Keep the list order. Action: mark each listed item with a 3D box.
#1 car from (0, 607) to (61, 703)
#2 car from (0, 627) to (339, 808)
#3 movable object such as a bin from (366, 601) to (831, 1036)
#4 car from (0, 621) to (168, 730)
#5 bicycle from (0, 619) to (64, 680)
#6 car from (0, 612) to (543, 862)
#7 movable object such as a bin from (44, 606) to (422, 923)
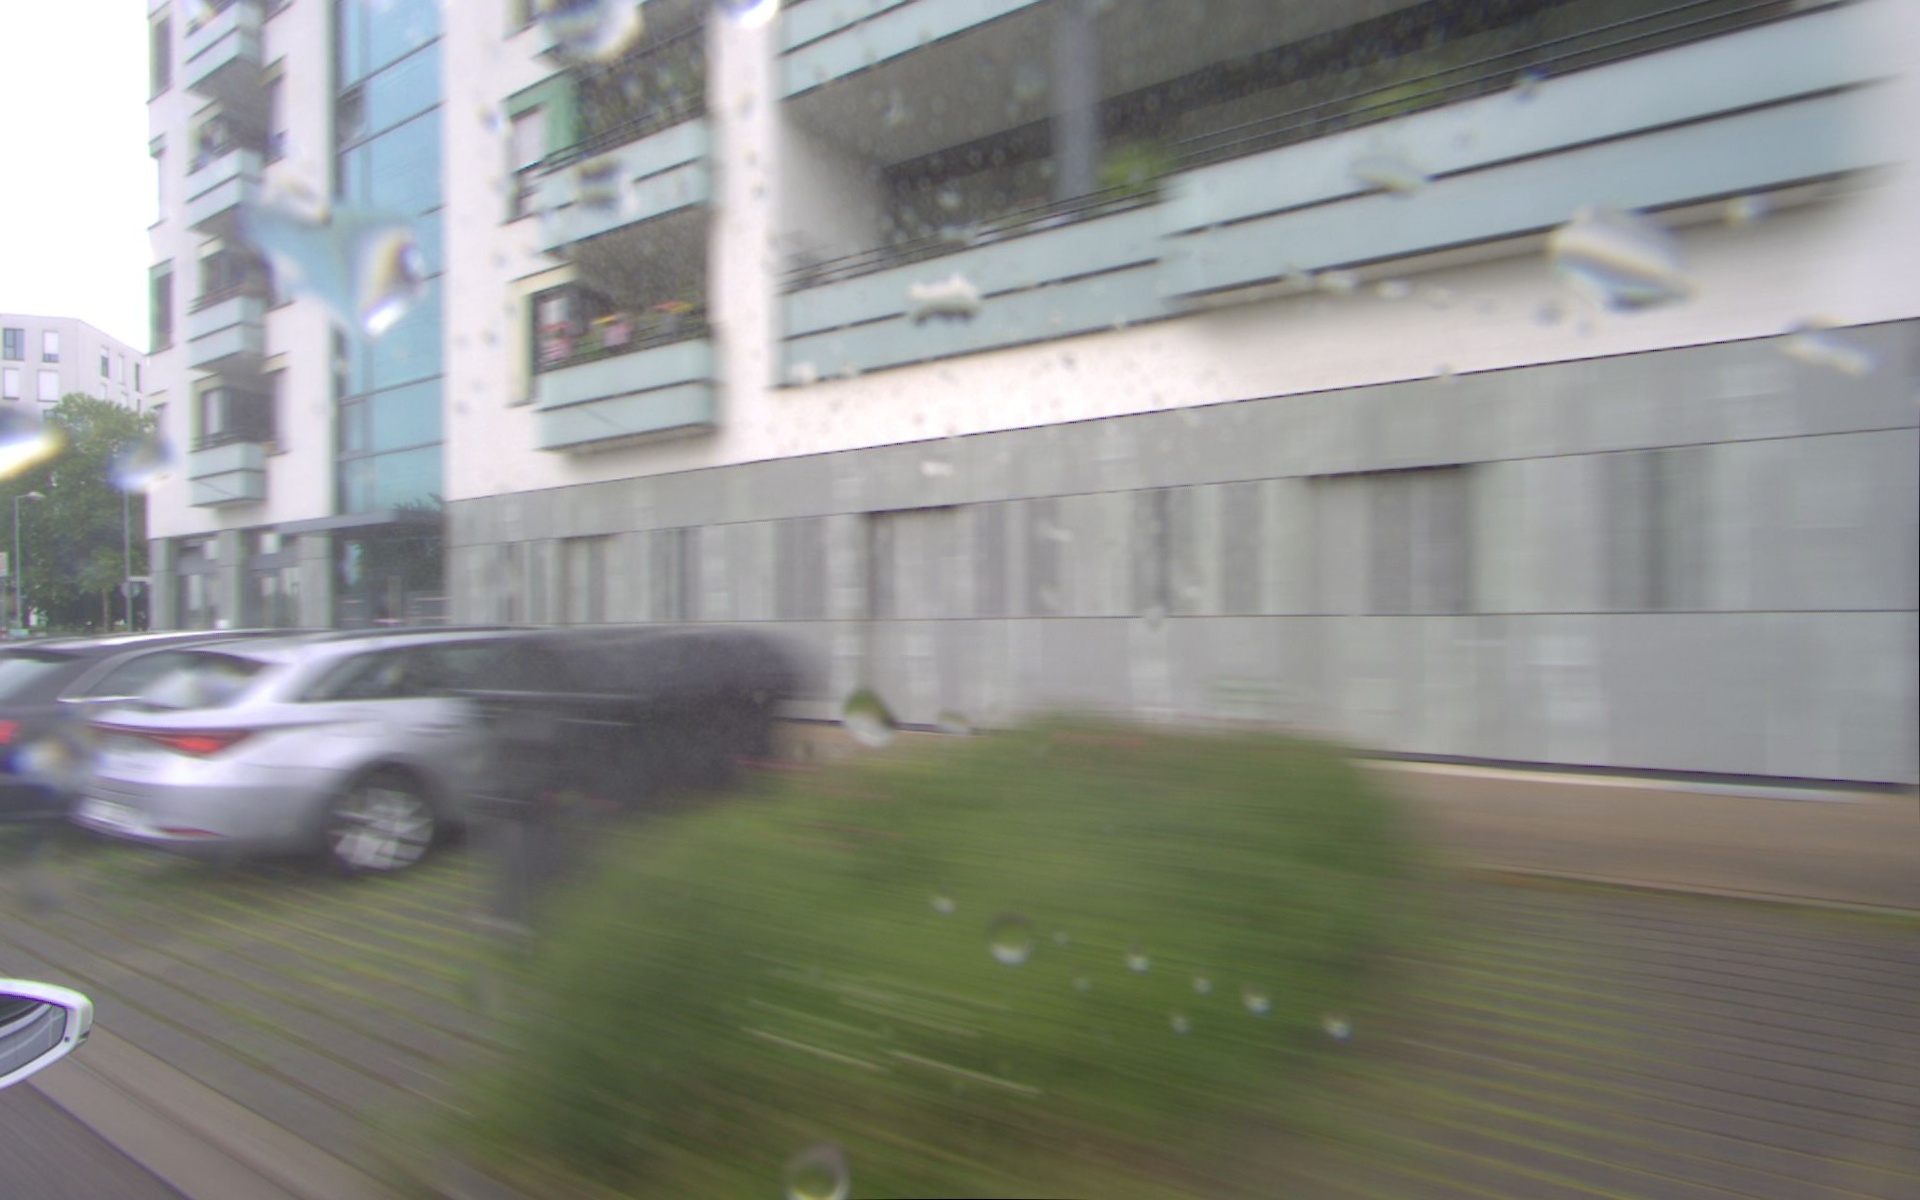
[{"bbox_3d":[-17.927,0.987,16.600,1.937,1.645,4.082,-1,0,31],"label":"car"},{"bbox_3d":[-8.717,1.067,9.906,1.851,1.499,3.980,-1,0,31],"label":"car"},{"bbox_3d":[-1.606,0.792,4.532,1.559,1.546,1.298,-1,0,32],"label":"movable object such as a bin"},{"bbox_3d":[-13.974,1.071,13.815,1.883,1.423,4.400,-1,0,31],"label":"car"},{"bbox_3d":[-24.304,1.257,25.498,2.168,1.542,0.626,0,0,-38],"label":"bicycle"},{"bbox_3d":[-5.901,0.892,8.346,2.029,1.516,4.052,-1,0,32],"label":"car"},{"bbox_3d":[-4.251,0.822,5.892,1.559,1.546,1.297,-1,0,32],"label":"movable object such as a bin"}]
